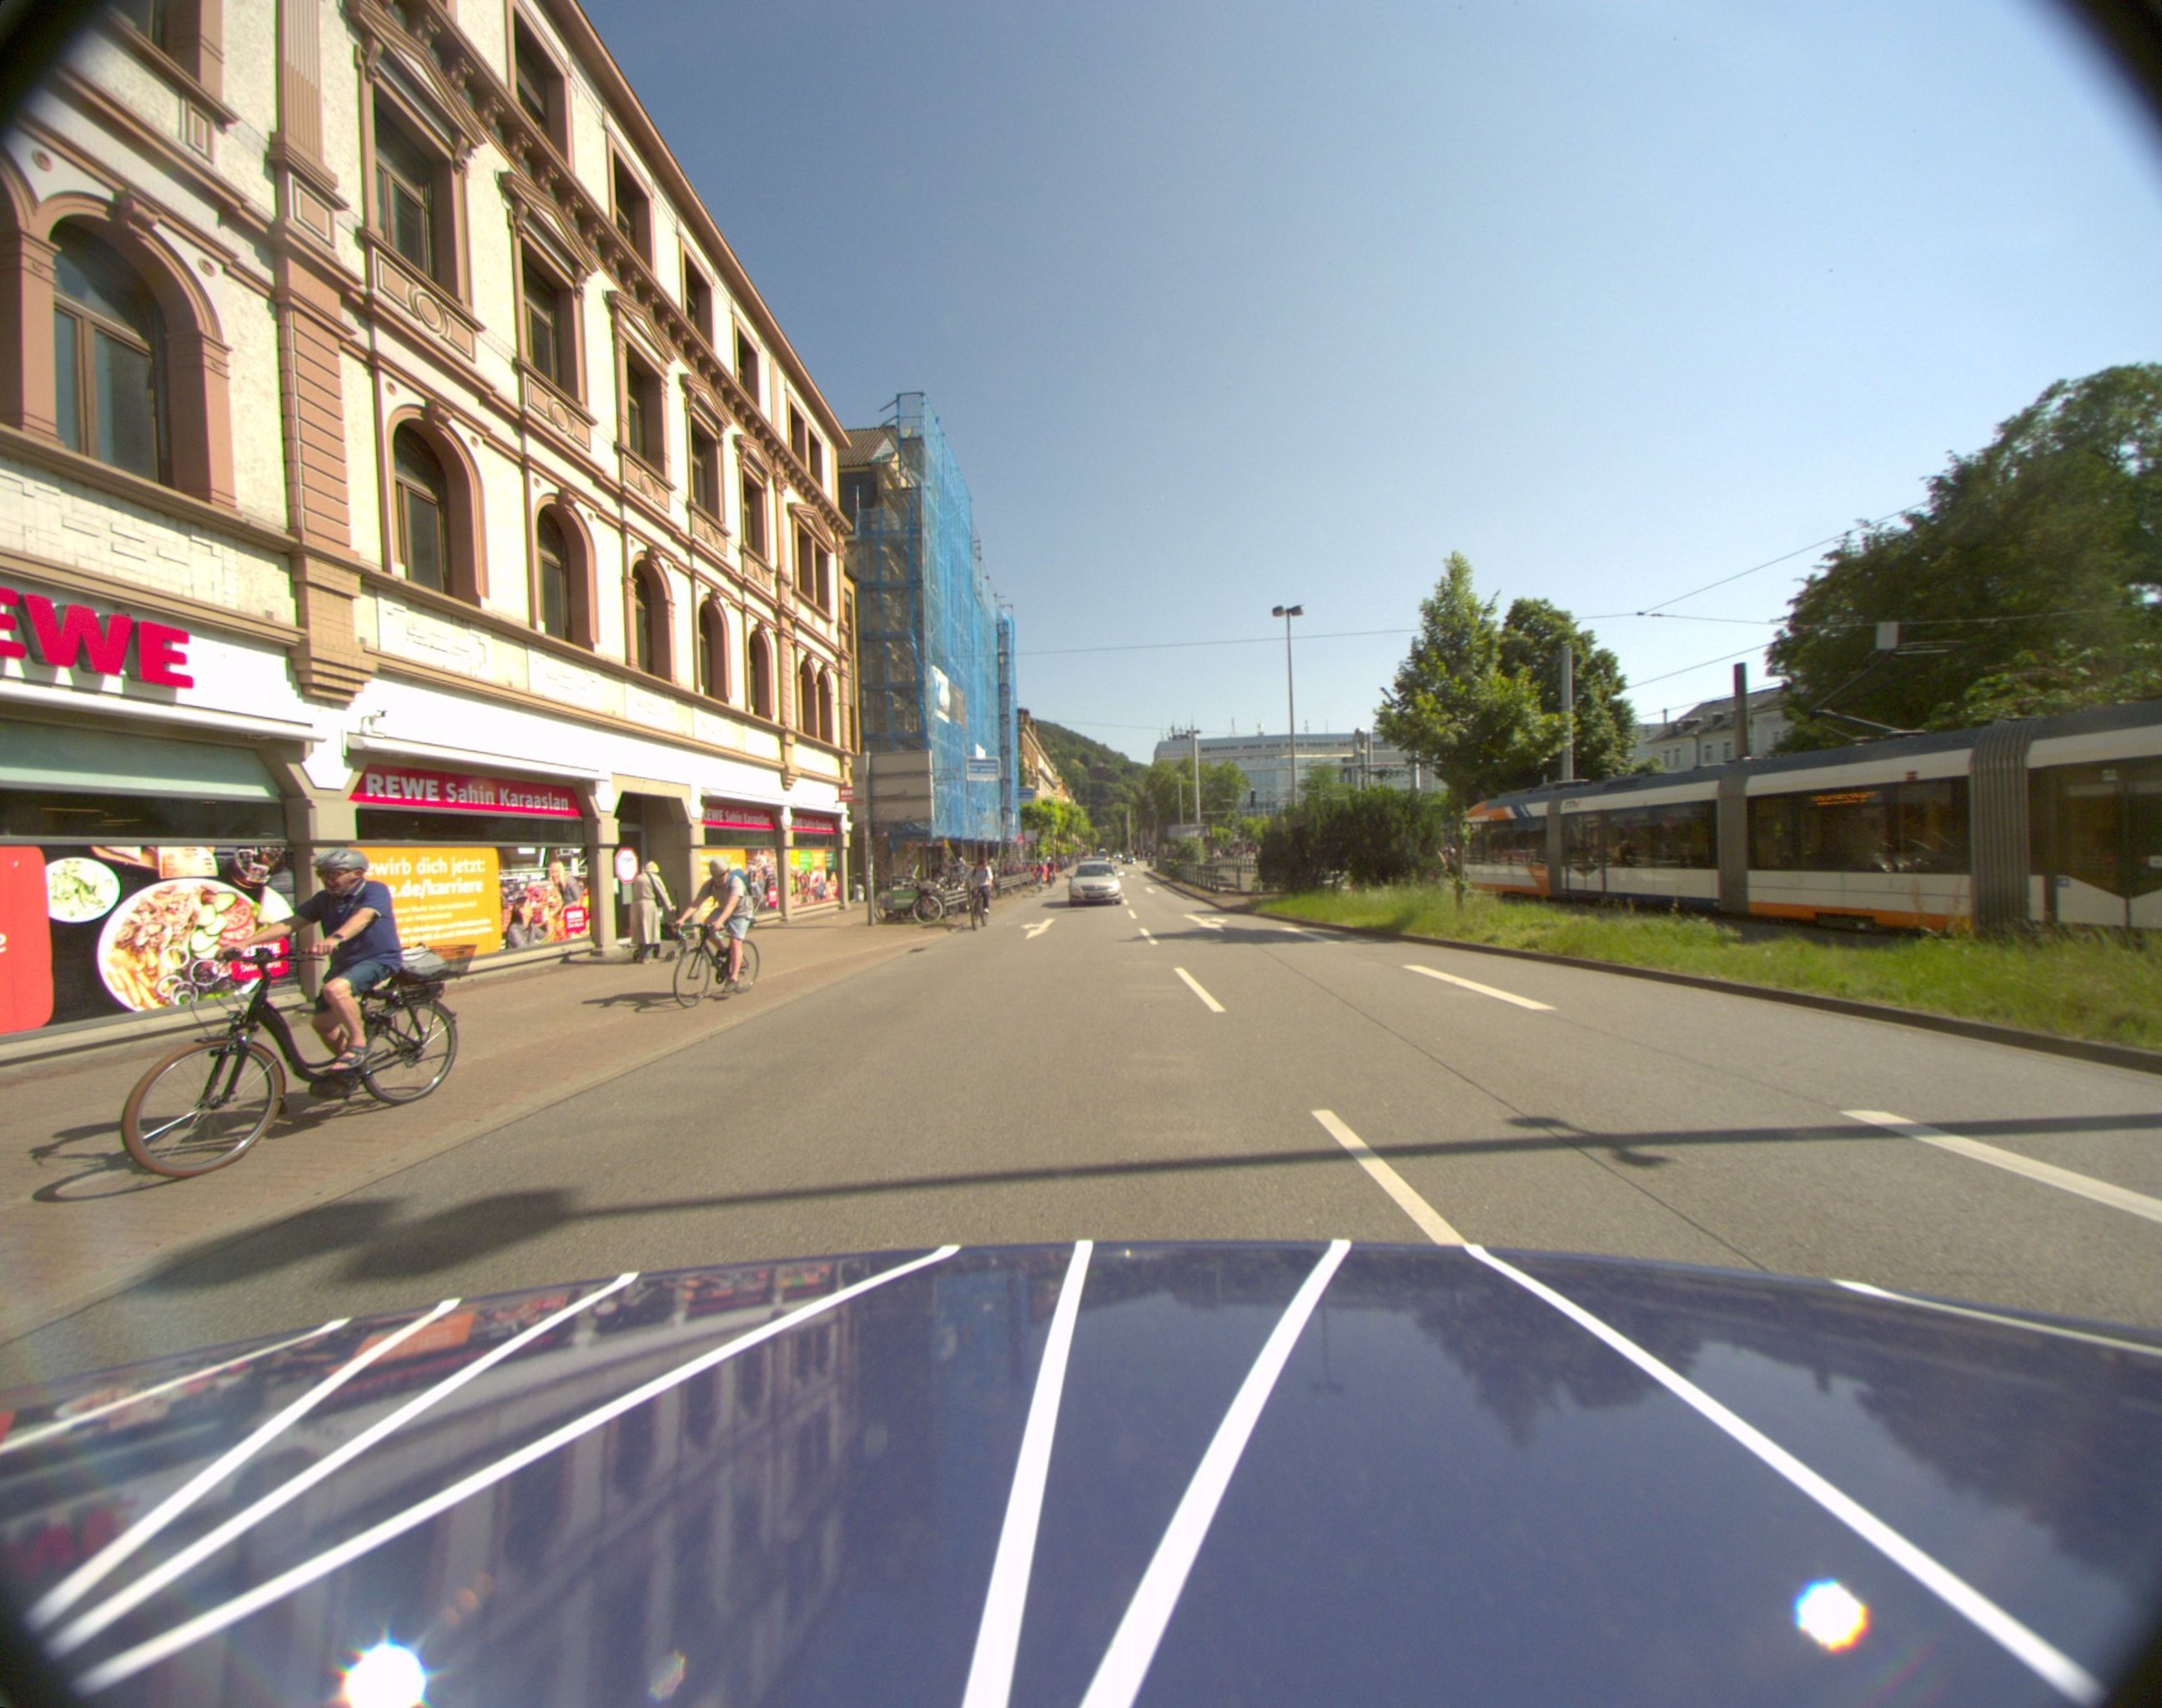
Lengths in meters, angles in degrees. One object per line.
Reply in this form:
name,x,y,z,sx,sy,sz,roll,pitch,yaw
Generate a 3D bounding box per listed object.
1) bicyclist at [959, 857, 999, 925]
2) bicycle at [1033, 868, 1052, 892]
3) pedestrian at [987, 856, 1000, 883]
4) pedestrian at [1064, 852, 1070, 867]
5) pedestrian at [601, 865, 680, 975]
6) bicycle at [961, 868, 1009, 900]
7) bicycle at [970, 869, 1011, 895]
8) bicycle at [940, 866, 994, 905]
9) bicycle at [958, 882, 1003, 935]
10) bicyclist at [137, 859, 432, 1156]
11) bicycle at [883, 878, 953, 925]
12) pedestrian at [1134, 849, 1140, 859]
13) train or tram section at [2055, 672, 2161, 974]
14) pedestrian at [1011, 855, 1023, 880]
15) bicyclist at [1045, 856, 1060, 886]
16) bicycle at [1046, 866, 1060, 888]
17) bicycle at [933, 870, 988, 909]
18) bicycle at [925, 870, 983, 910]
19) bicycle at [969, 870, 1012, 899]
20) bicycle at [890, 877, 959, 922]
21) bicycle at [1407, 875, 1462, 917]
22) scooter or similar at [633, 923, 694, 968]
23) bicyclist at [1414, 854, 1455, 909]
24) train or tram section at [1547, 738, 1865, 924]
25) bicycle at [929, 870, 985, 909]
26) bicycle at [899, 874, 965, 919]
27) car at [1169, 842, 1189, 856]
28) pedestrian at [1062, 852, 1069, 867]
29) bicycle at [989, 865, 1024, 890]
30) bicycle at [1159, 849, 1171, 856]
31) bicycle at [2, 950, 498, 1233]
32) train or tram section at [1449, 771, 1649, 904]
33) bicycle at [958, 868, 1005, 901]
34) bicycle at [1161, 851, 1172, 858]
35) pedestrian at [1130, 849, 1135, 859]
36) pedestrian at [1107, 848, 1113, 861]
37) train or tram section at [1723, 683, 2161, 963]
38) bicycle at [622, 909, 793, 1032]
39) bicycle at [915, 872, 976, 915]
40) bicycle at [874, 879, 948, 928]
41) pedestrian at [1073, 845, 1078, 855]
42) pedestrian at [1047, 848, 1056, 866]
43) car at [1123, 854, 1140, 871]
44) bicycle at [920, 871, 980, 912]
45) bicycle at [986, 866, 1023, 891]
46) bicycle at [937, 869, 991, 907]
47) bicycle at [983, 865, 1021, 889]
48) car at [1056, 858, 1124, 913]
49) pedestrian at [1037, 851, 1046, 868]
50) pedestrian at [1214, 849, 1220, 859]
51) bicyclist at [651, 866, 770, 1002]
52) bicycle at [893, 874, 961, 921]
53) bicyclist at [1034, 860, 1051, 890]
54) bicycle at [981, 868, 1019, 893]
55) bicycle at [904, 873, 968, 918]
bicyclist,-2.471,0.884,18.561,0.750,1.568,0.778,-4,1,1
bicycle,-1.897,1.295,37.760,0.736,1.086,1.819,-3,0,1
pedestrian,-5.423,0.943,47.189,0.645,1.592,0.765,-4,1,-4
pedestrian,-1.478,0.558,80.167,0.601,1.617,0.643,0,1,-10
pedestrian,-7.000,1.020,12.120,0.757,1.646,0.837,1,2,1
bicycle,-3.897,1.195,30.814,1.775,1.172,0.608,-3,1,3
bicycle,-4.176,1.281,35.218,1.743,1.103,0.608,-3,1,3
bicycle,-3.950,1.095,26.426,1.697,1.234,0.608,-3,1,3
bicycle,-2.428,1.309,18.567,0.736,1.086,1.897,-4,1,1
bicyclist,-4.807,0.867,4.661,0.689,1.607,0.919,-4,1,9
bicycle,-4.254,1.235,19.893,1.697,1.172,0.609,0,1,3
pedestrian,10.018,-0.009,135.854,0.537,1.773,0.745,-3,2,37
train or tram section,13.964,-0.399,6.429,2.620,3.560,6.898,-4,1,2
pedestrian,-4.685,1.009,55.557,0.641,1.766,0.649,-4,1,2
bicyclist,-1.557,0.921,42.101,0.690,1.568,0.778,-4,1,-1
bicycle,-1.531,1.249,42.025,0.667,1.086,1.897,-4,1,0
bicycle,-4.001,1.164,25.246,1.697,1.172,0.490,-3,1,3
bicycle,-4.042,1.139,24.198,1.697,1.172,0.463,-3,1,3
bicycle,-3.832,1.291,32.260,1.697,1.081,0.608,-3,1,3
bicycle,-4.218,1.219,20.522,1.697,1.172,0.609,-1,0,3
bicycle,10.639,1.235,22.919,0.819,1.114,1.874,1,1,2
scooter or similar,-6.984,1.528,12.736,0.692,0.646,0.565,2,2,1
bicyclist,10.682,0.812,22.989,0.819,1.612,0.902,1,0,2
train or tram section,14.396,-0.490,18.280,2.620,3.560,6.103,-4,1,2
bicycle,-4.027,1.144,24.717,1.697,1.172,0.451,-3,1,3
bicycle,-4.177,1.189,21.339,1.697,1.172,0.470,-3,1,2
car,16.613,-0.830,128.772,1.995,2.002,5.073,-3,1,23
pedestrian,-1.646,0.557,80.869,0.697,1.617,0.701,-1,1,-11
bicycle,-3.839,1.234,39.328,1.697,1.172,0.608,-3,1,3
bicycle,13.878,-0.206,125.314,1.865,1.140,0.483,-2,1,0
bicycle,-4.783,1.287,4.649,0.735,1.086,1.911,-4,1,7
train or tram section,14.622,-0.513,24.378,2.620,3.560,6.103,-4,1,2
bicycle,-3.910,1.210,29.965,1.697,1.172,0.608,-3,1,3
bicycle,13.934,0.103,123.983,1.757,1.140,0.483,-2,1,0
pedestrian,9.929,0.015,146.942,0.876,1.737,0.733,-4,1,1
pedestrian,3.858,0.036,100.919,0.699,1.775,0.578,-1,1,-3
train or tram section,14.192,-0.477,12.541,2.620,3.560,5.356,-4,1,2
bicycle,-4.390,1.329,9.170,0.735,1.086,2.131,-4,1,7
bicycle,-4.109,1.192,23.061,1.697,1.172,0.514,-3,1,3
bicycle,-4.297,1.243,19.270,1.697,1.172,0.609,-2,0,3
pedestrian,-0.869,-0.669,120.713,0.606,1.529,0.667,-4,1,1
pedestrian,-2.742,0.266,70.437,0.658,1.673,0.652,-2,2,-12
car,6.839,1.126,103.762,1.998,2.002,3.999,-4,1,0
bicycle,-4.078,1.161,23.672,1.697,1.172,0.457,-3,1,3
bicycle,-3.881,1.246,38.645,1.697,1.172,0.608,-3,1,3
bicycle,-3.968,1.154,25.808,1.697,1.172,0.497,-3,1,3
bicycle,-3.926,1.141,37.827,1.697,1.091,0.608,-4,1,3
car,0.381,0.988,25.454,1.917,1.401,4.000,-7,1,3
pedestrian,-4.171,0.562,80.115,0.816,1.838,0.892,0,2,10
pedestrian,19.716,0.048,110.448,0.626,1.457,0.552,0,1,-20
bicyclist,-4.418,0.917,9.145,0.690,1.454,1.143,-4,1,6
bicycle,-4.258,1.196,21.062,1.697,1.172,0.470,-3,1,2
bicyclist,-1.912,1.037,37.729,0.690,1.388,0.778,-4,1,1
bicycle,-3.970,1.296,37.156,1.697,1.091,0.608,-3,1,3
bicycle,-4.165,1.191,21.893,1.697,1.172,0.460,-3,1,3
